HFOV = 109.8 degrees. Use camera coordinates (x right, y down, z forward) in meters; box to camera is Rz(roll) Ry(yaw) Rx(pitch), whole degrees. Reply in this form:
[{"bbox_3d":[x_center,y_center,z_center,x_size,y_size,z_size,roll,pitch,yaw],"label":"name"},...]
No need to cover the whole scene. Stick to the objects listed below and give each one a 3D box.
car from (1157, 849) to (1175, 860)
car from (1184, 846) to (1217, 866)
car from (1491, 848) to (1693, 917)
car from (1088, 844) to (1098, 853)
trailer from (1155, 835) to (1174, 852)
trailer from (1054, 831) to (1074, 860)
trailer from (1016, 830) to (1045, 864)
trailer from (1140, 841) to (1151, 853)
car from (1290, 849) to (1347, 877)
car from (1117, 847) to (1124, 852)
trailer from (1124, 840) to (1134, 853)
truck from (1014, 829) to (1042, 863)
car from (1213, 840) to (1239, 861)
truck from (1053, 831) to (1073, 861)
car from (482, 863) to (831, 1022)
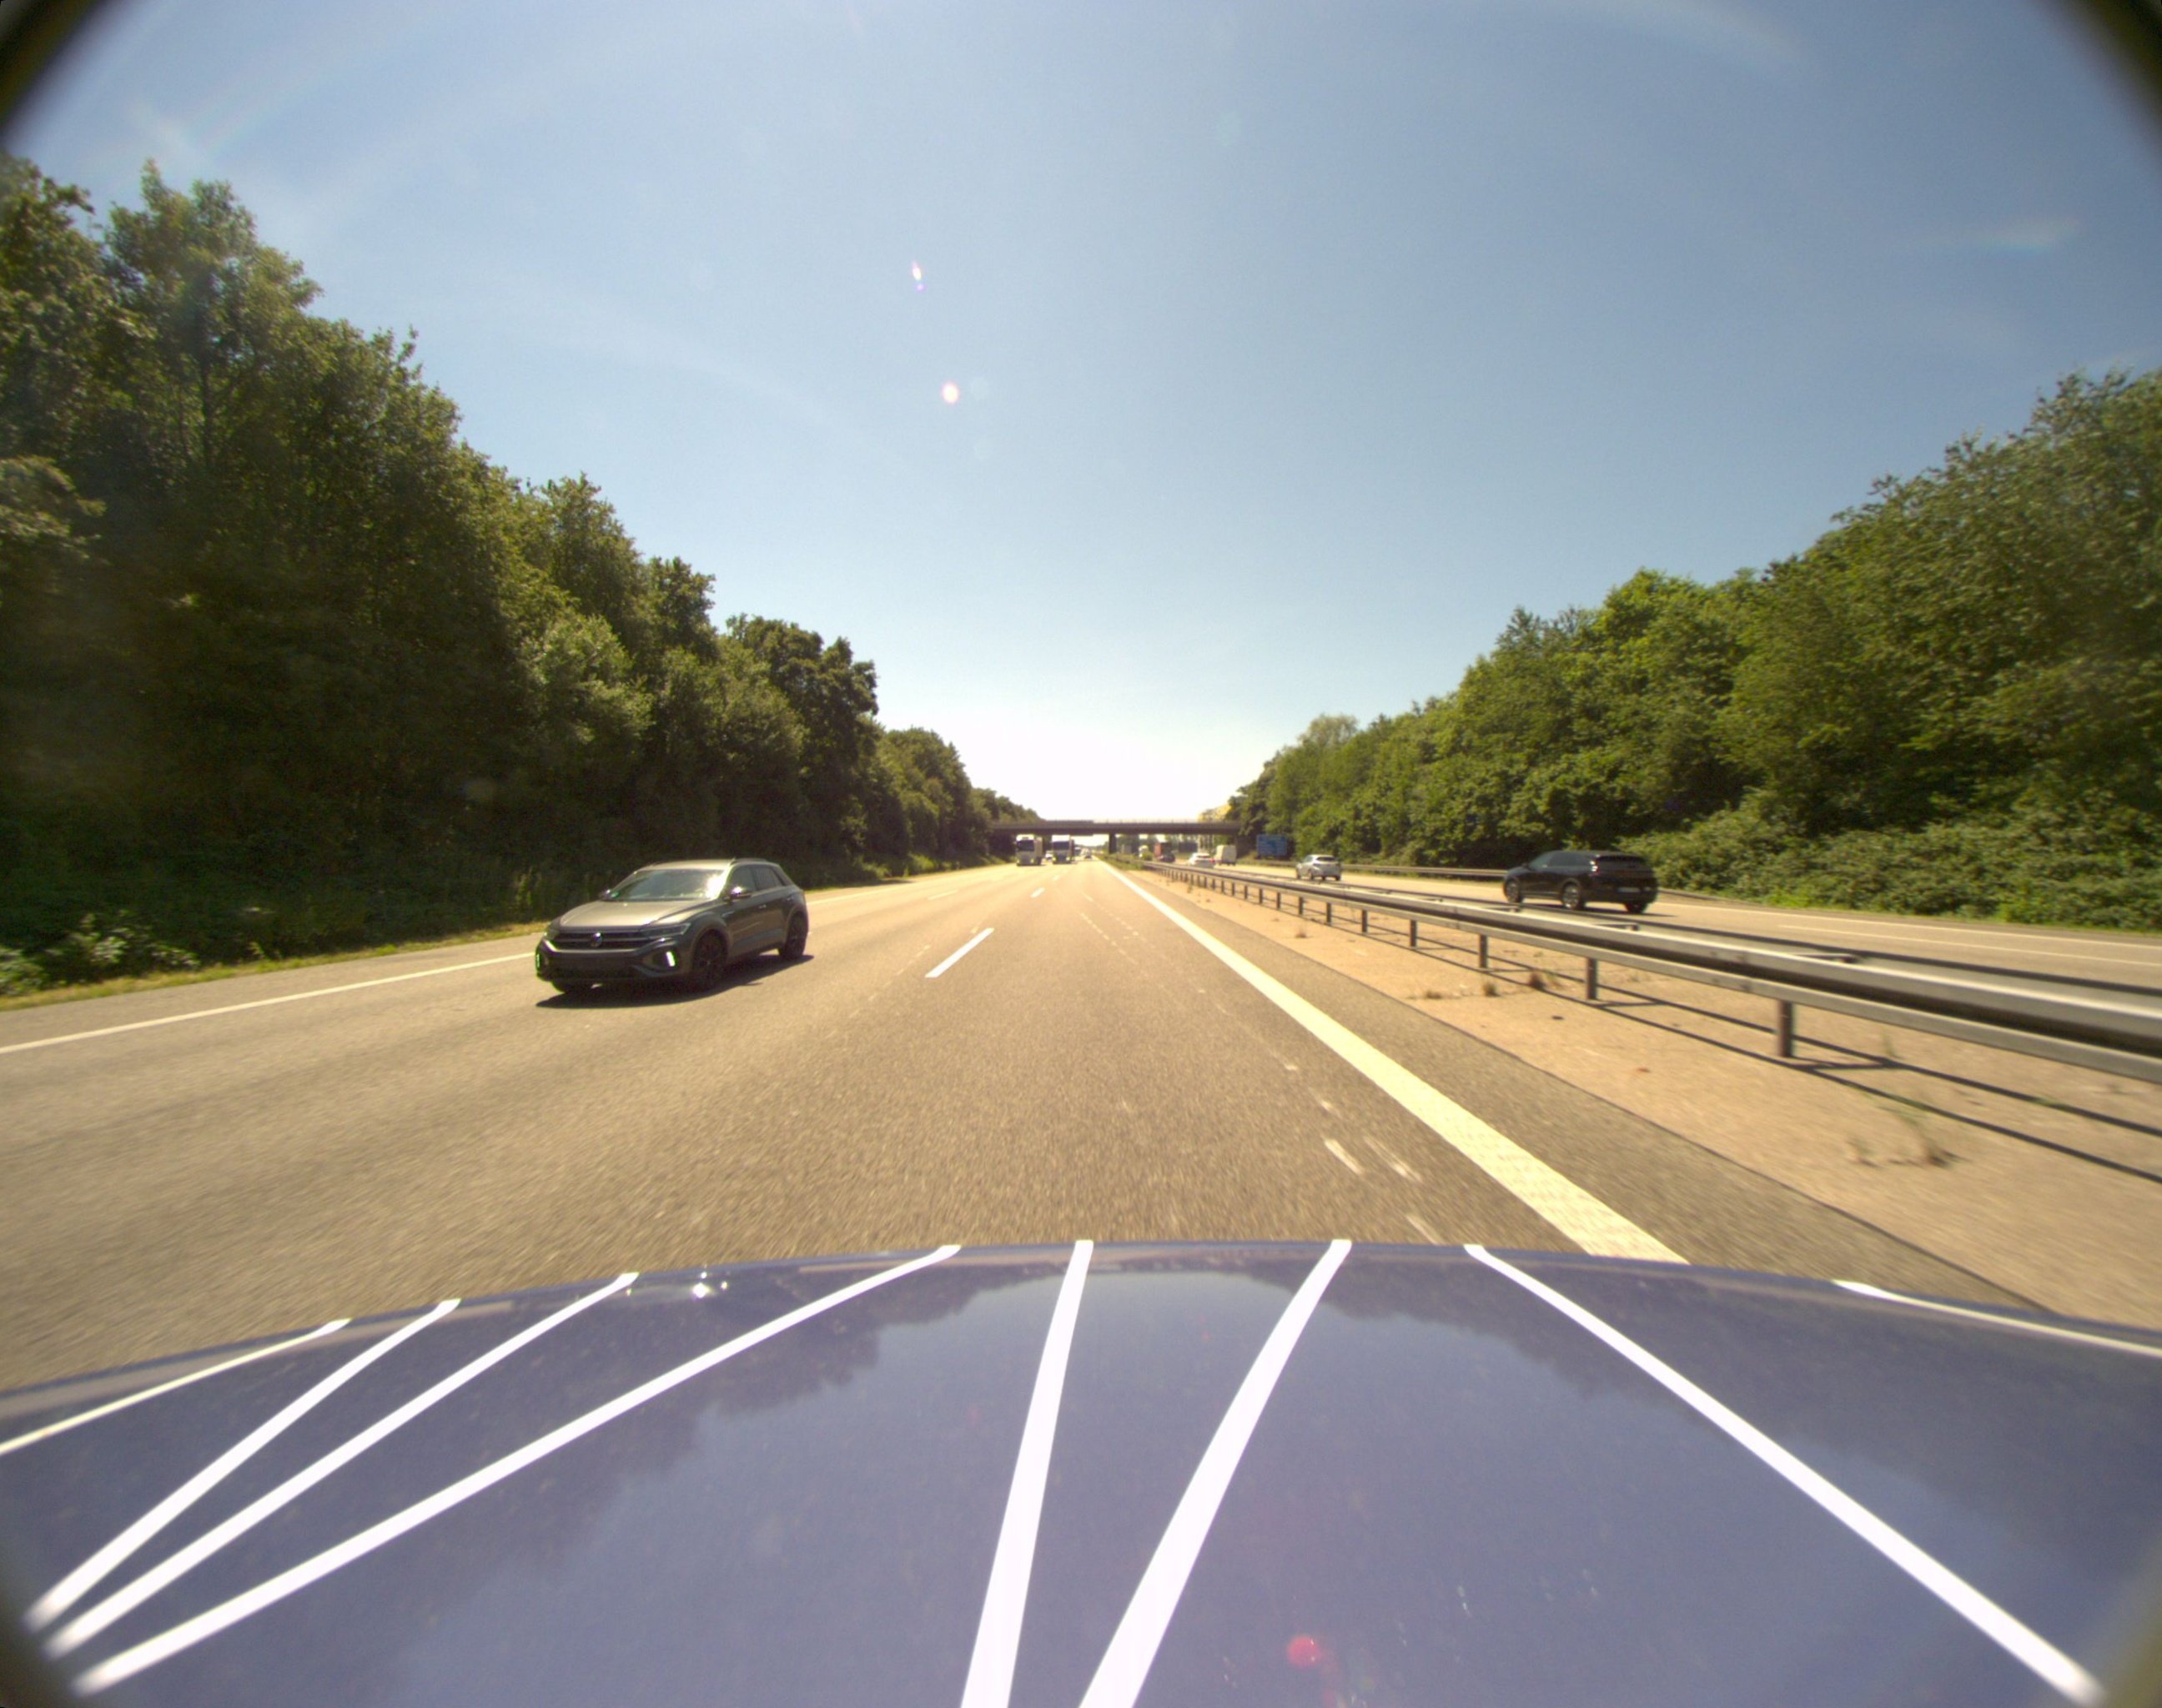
[{"bbox_3d":[10.647,0.045,95.440,1.843,1.375,4.427,0,0,1],"label":"car"},{"bbox_3d":[9.645,0.136,61.678,1.825,1.515,4.822,0,0,0],"label":"car"},{"bbox_3d":[13.910,0.680,21.176,2.280,1.641,4.927,1,1,0],"label":"car"},{"bbox_3d":[2.658,-1.221,169.186,2.073,1.959,5.109,0,0,-1],"label":"car"},{"bbox_3d":[19.600,-2.465,178.990,3.225,4.036,12.740,0,1,0],"label":"trailer"},{"bbox_3d":[-2.535,-1.209,115.113,2.684,4.046,13.833,-2,0,0],"label":"trailer"},{"bbox_3d":[-6.825,-0.948,104.678,3.047,4.200,13.833,-2,0,0],"label":"trailer"},{"bbox_3d":[20.773,-2.129,245.009,2.364,3.772,12.073,1,0,1],"label":"trailer"},{"bbox_3d":[13.689,0.492,44.099,1.825,1.515,4.822,0,1,0],"label":"car"},{"bbox_3d":[12.151,-1.365,232.259,1.672,1.503,4.518,0,1,-1],"label":"car"},{"bbox_3d":[16.831,-2.648,266.843,2.836,4.200,13.834,1,0,1],"label":"trailer"},{"bbox_3d":[-6.788,-1.037,98.237,3.055,4.190,6.047,-2,1,0],"label":"truck"},{"bbox_3d":[18.559,-0.470,97.462,2.092,2.537,6.227,0,1,1],"label":"car"},{"bbox_3d":[-2.485,-1.153,108.030,2.684,4.046,6.047,-2,1,0],"label":"truck"},{"bbox_3d":[-5.197,0.955,10.287,1.904,1.523,4.760,-2,0,2],"label":"car"}]
